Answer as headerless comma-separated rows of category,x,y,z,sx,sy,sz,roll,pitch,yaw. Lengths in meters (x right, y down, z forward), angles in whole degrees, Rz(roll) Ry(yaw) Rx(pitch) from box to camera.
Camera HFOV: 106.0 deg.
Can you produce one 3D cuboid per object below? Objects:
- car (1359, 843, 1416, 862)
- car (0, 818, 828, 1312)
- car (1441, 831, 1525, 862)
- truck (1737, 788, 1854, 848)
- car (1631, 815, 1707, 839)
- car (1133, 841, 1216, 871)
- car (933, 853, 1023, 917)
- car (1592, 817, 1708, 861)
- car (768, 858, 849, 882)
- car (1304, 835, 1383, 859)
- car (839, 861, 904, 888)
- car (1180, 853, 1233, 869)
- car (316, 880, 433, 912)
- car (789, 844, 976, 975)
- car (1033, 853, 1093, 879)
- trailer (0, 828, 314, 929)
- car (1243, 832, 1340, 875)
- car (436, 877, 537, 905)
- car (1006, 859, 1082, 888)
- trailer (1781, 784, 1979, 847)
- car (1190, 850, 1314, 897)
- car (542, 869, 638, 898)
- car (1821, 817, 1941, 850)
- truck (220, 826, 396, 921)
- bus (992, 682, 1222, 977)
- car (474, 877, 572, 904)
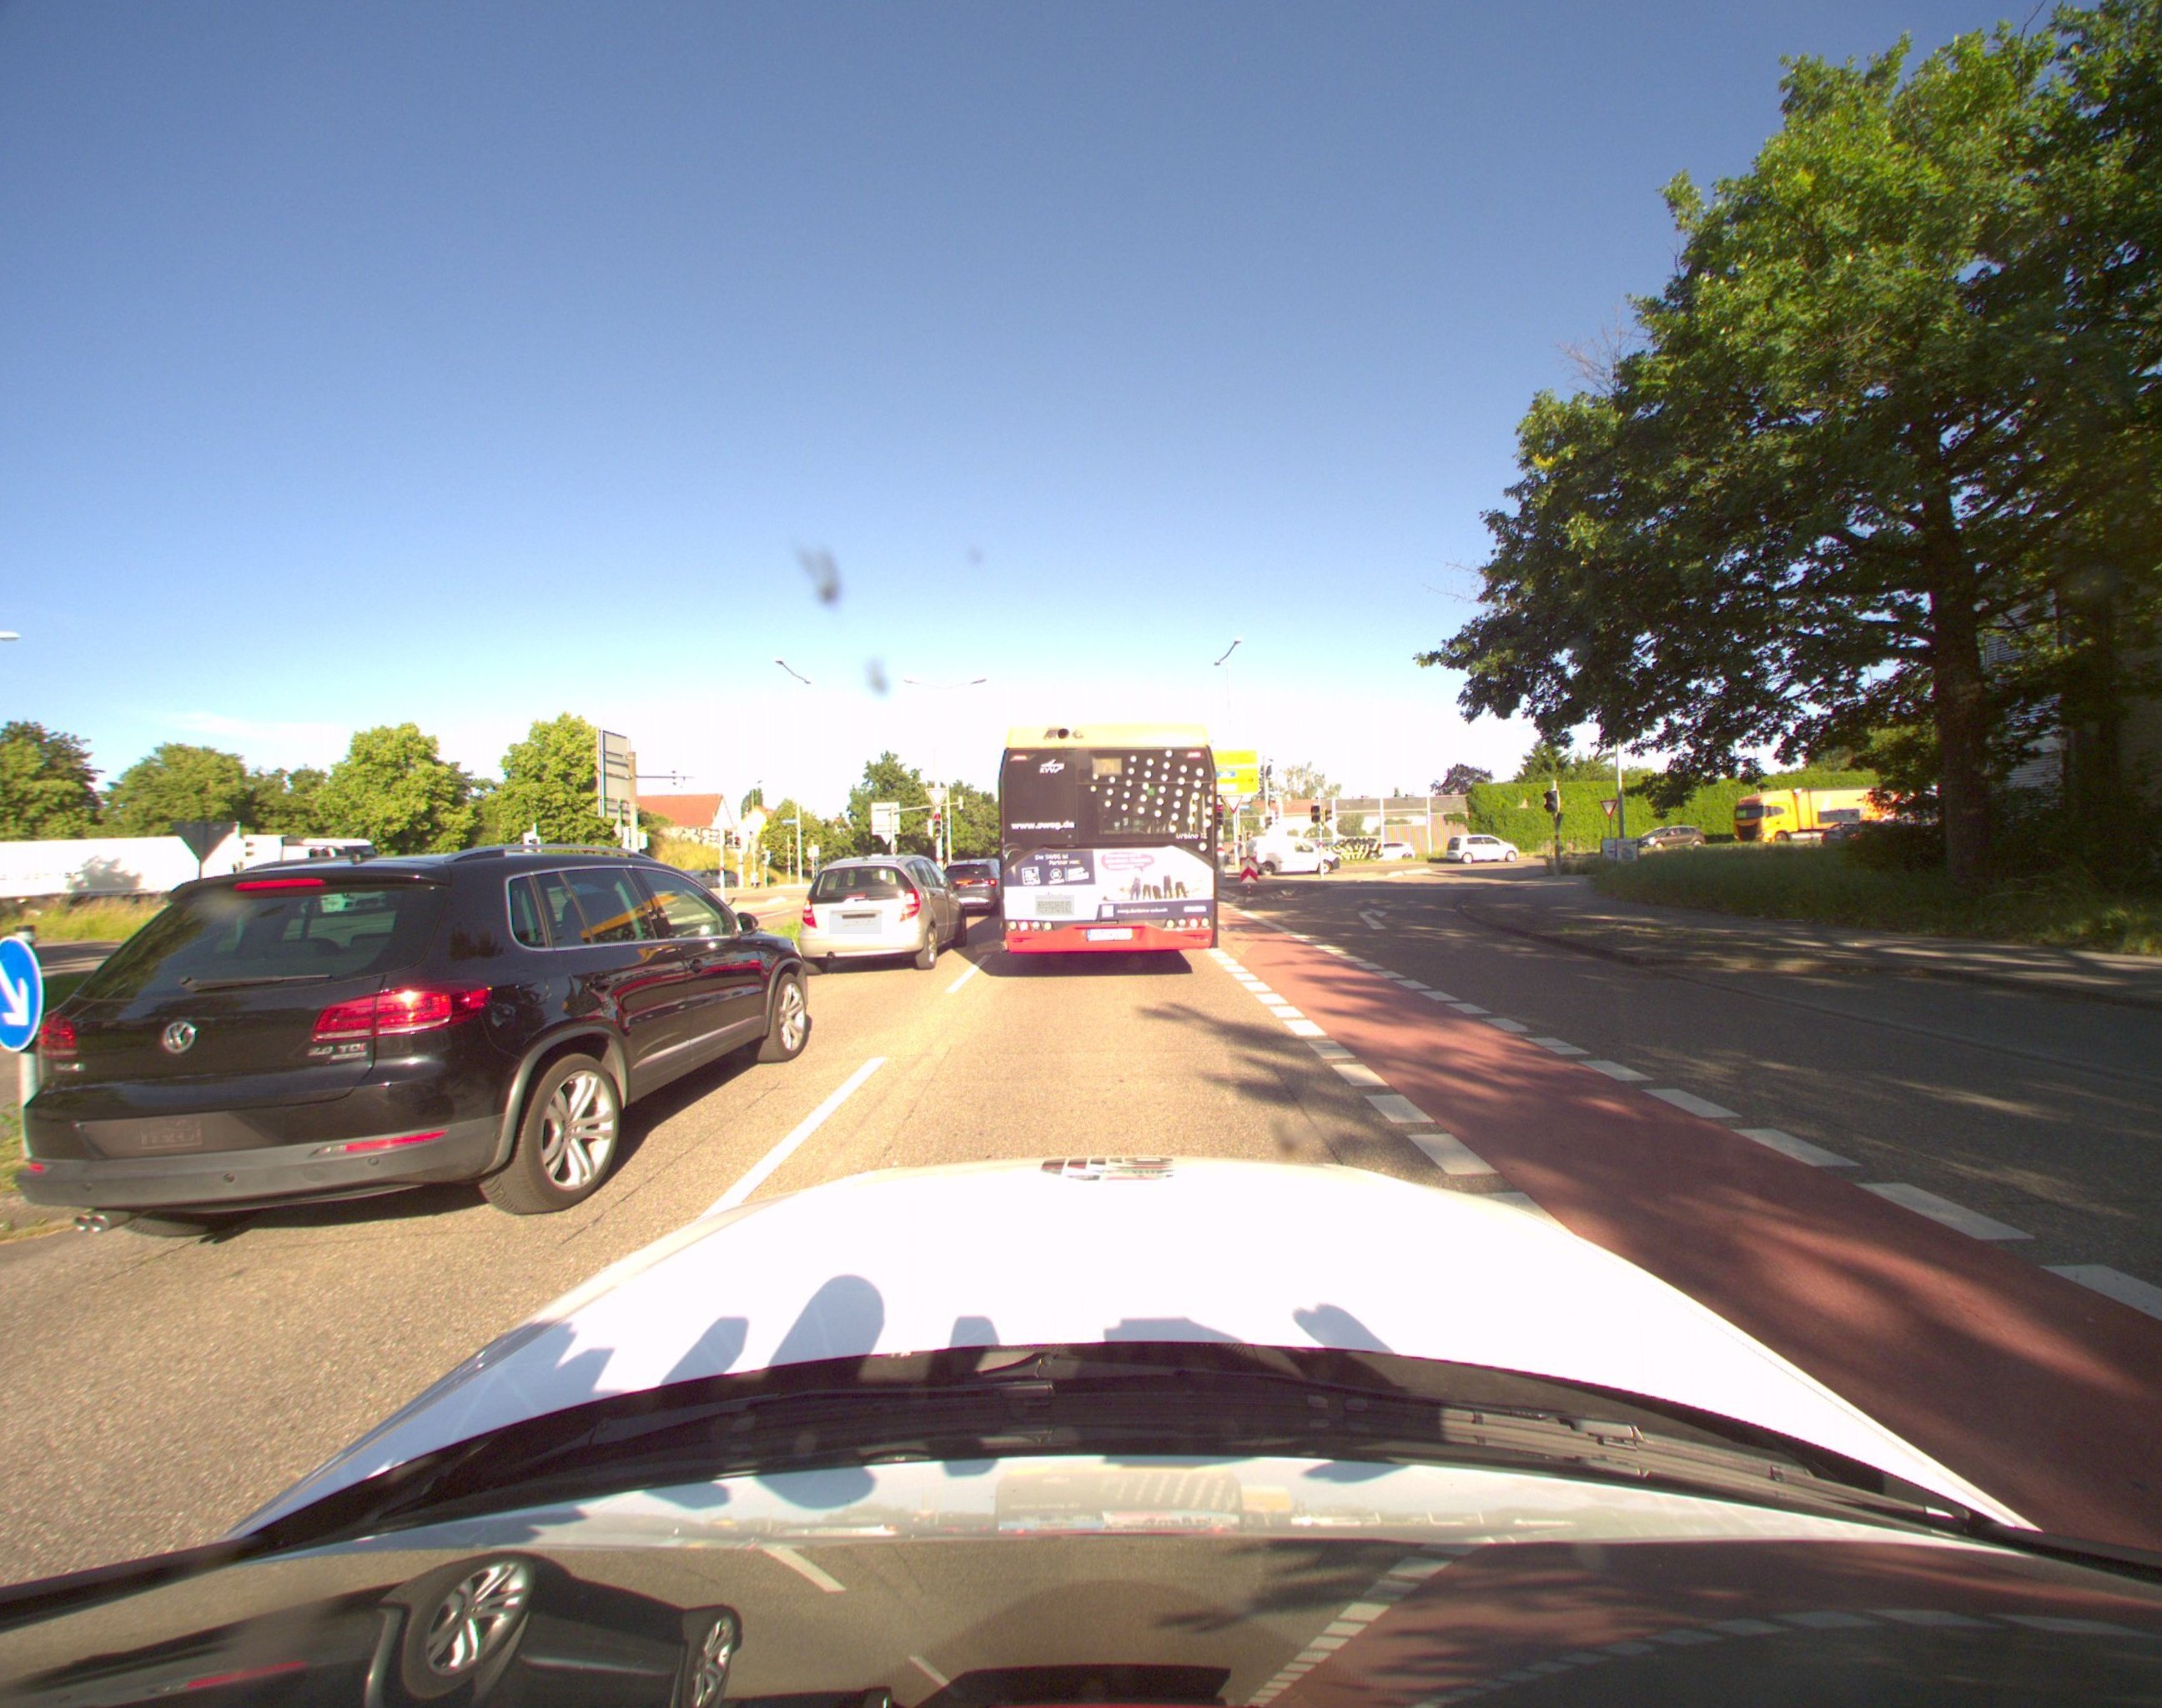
car,22.054,-0.101,58.635,3.571,1.265,1.353,-2,0,0
car,-3.146,0.786,4.907,1.814,1.673,4.004,-3,-1,1
car,21.132,-0.381,42.851,3.664,1.485,1.591,-2,-1,-5
truck,50.727,-2.544,57.891,6.387,3.998,2.468,-2,0,-5
car,38.529,-1.757,53.405,3.980,1.442,1.563,-1,-1,-5
car,4.955,0.118,43.469,4.212,1.562,1.761,-1,-1,-3
car,-2.621,0.763,21.423,1.581,1.485,3.687,-2,-1,4
car,17.946,-0.447,25.679,3.412,1.296,1.449,0,-1,-24
car,-16.443,0.969,49.280,4.277,1.302,1.574,-2,0,-2
car,15.365,-0.385,47.733,4.148,1.302,1.574,-1,-1,-2
car,-14.100,1.366,54.949,3.979,1.612,1.693,-2,0,-4
car,9.734,0.564,62.998,3.722,1.136,1.584,-2,0,25
car,-32.661,1.930,37.724,3.843,1.313,1.504,-2,-1,-7
car,-2.845,0.698,12.604,1.747,1.620,4.035,-2,1,1
car,-1.256,0.792,55.882,3.979,1.612,1.693,-2,0,-4
trailer,-38.980,0.985,33.455,11.468,3.696,2.389,-2,0,-8
car,9.773,-0.019,37.927,4.102,1.801,1.456,-2,-1,-3
car,-29.930,1.840,41.082,3.842,1.313,1.504,-1,-1,-7
car,-2.297,1.170,49.881,4.522,1.715,1.995,-1,-1,-7
trailer,57.281,-2.729,58.463,12.712,4.030,2.466,-2,0,-5
car,5.080,0.562,24.363,3.500,1.302,1.579,-1,1,10
car,-25.161,1.504,41.814,3.842,1.385,1.678,-1,-1,-7
car,40.027,-1.025,40.814,4.450,1.441,1.681,-2,0,-2
truck,-32.374,0.787,34.264,4.793,3.695,2.407,-2,0,-5
bus,0.484,-0.288,15.270,2.586,3.334,11.988,-1,0,2
car,-32.288,2.084,47.215,4.408,1.459,1.571,-1,-1,-6
